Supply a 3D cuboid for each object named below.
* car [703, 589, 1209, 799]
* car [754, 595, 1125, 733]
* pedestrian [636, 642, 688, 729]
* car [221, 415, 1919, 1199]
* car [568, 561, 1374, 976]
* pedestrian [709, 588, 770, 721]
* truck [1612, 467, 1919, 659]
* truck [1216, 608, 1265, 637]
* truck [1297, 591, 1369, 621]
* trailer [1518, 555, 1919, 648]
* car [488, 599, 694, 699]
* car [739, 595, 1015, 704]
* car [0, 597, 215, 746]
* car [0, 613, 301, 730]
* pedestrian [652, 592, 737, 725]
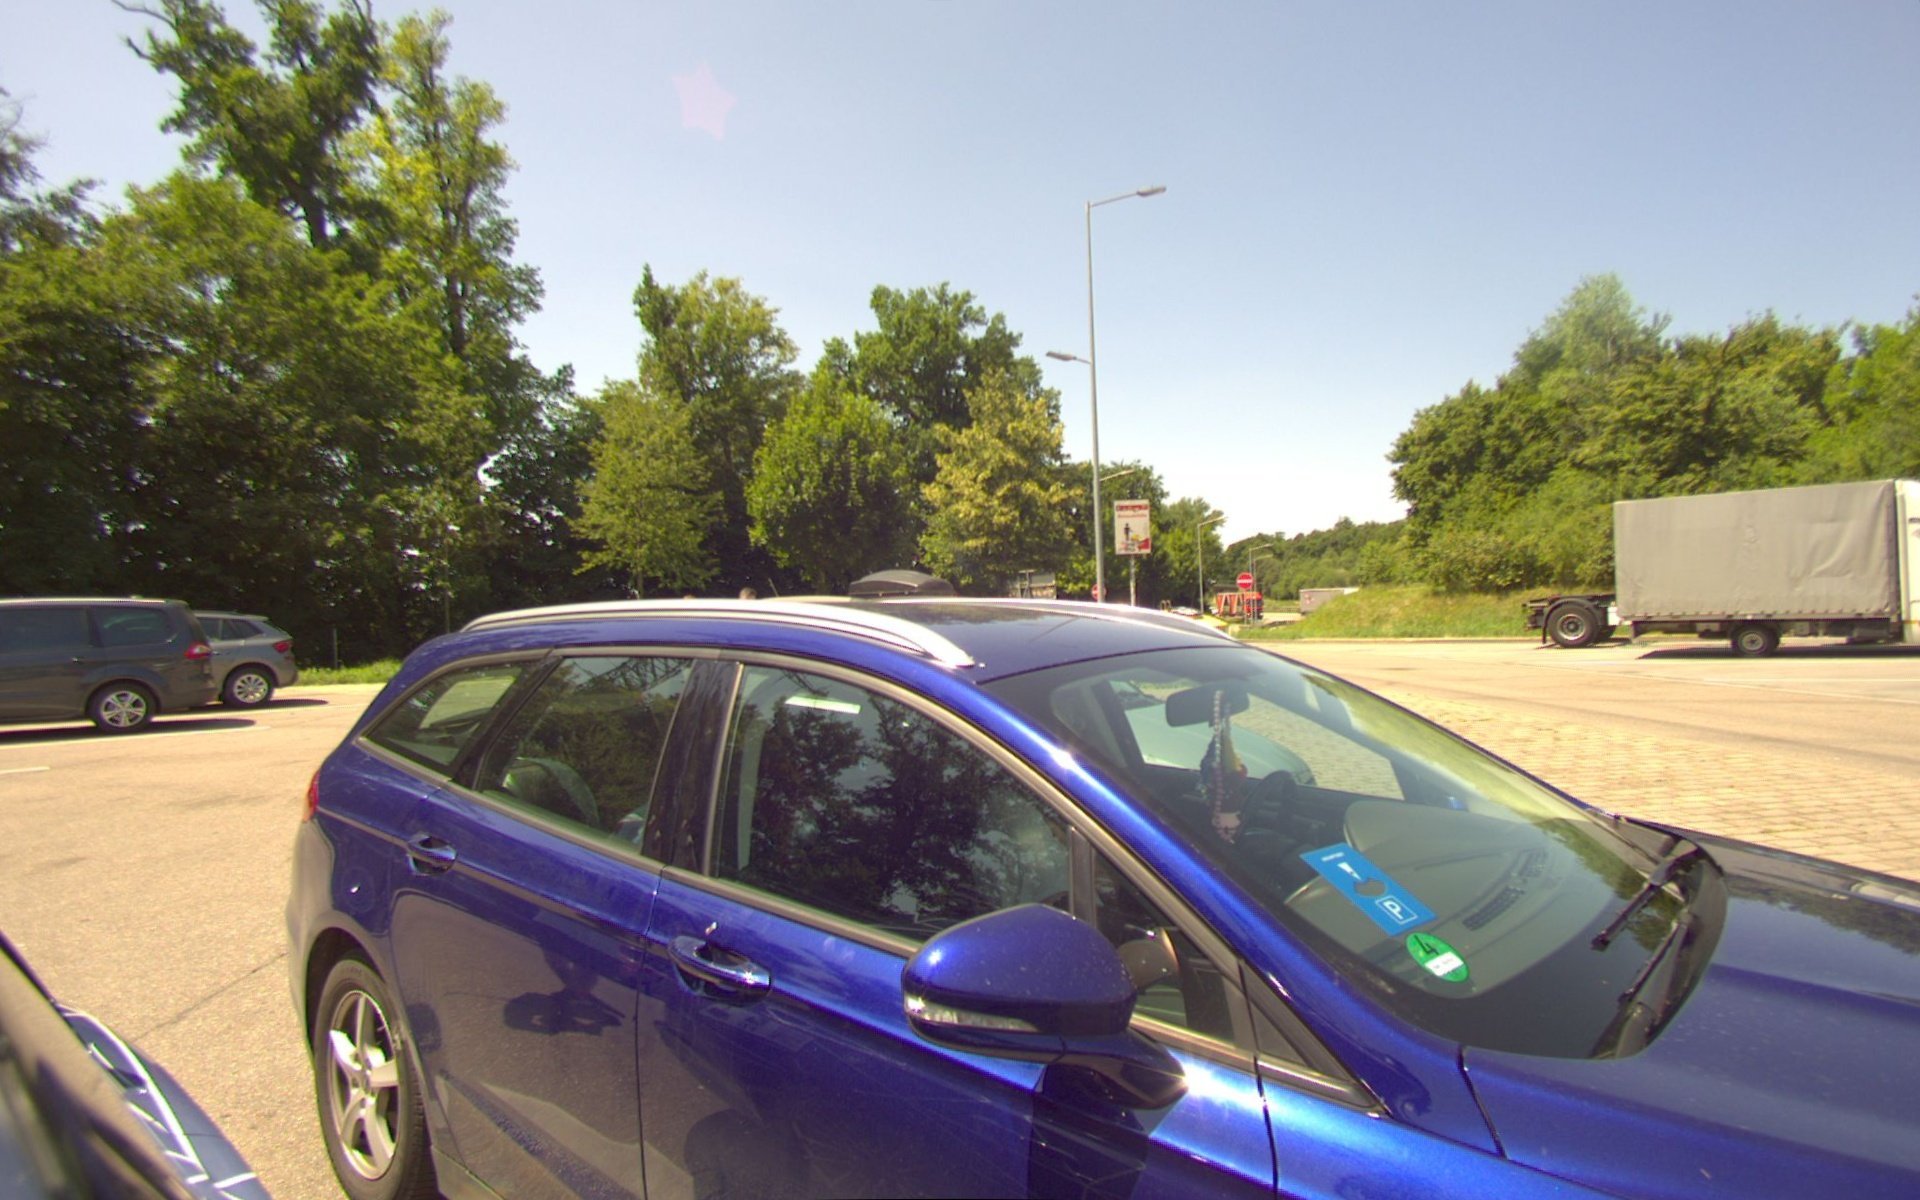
[{"bbox_3d":[-0.229,0.742,9.189,4.490,1.437,1.754,-3,-1,40],"label":"car"},{"bbox_3d":[-0.370,0.767,12.736,4.485,1.437,1.756,-3,-1,36],"label":"car"},{"bbox_3d":[-3.741,1.057,12.718,0.432,1.052,0.435,-2,-1,28],"label":"pedestrian"},{"bbox_3d":[0.271,0.654,2.116,4.490,1.502,1.851,-3,0,40],"label":"car"},{"bbox_3d":[-0.241,0.687,5.814,4.490,1.511,1.754,-3,-1,40],"label":"car"},{"bbox_3d":[-3.007,0.718,13.789,0.664,1.746,0.836,-1,-1,-21],"label":"pedestrian"},{"bbox_3d":[16.842,-0.663,18.945,7.295,3.259,2.709,-4,-1,43],"label":"truck"},{"bbox_3d":[42.806,3.328,155.119,3.089,4.150,15.403,-1,0,-1],"label":"truck"},{"bbox_3d":[50.287,0.790,137.262,2.570,3.849,16.339,-1,0,-4],"label":"truck"},{"bbox_3d":[17.267,0.117,23.373,7.295,1.701,2.235,-4,-1,43],"label":"trailer"},{"bbox_3d":[-7.087,0.870,20.029,1.976,1.725,4.607,-1,0,7],"label":"car"},{"bbox_3d":[-1.462,0.818,16.836,4.485,1.562,1.756,-3,-1,36],"label":"car"},{"bbox_3d":[-11.926,0.851,12.277,4.553,1.725,1.741,0,-1,-41],"label":"car"},{"bbox_3d":[-12.581,0.996,15.441,1.687,1.515,3.943,-1,0,43],"label":"car"},{"bbox_3d":[-3.460,0.743,13.218,0.830,1.676,0.669,-2,-1,29],"label":"pedestrian"}]
